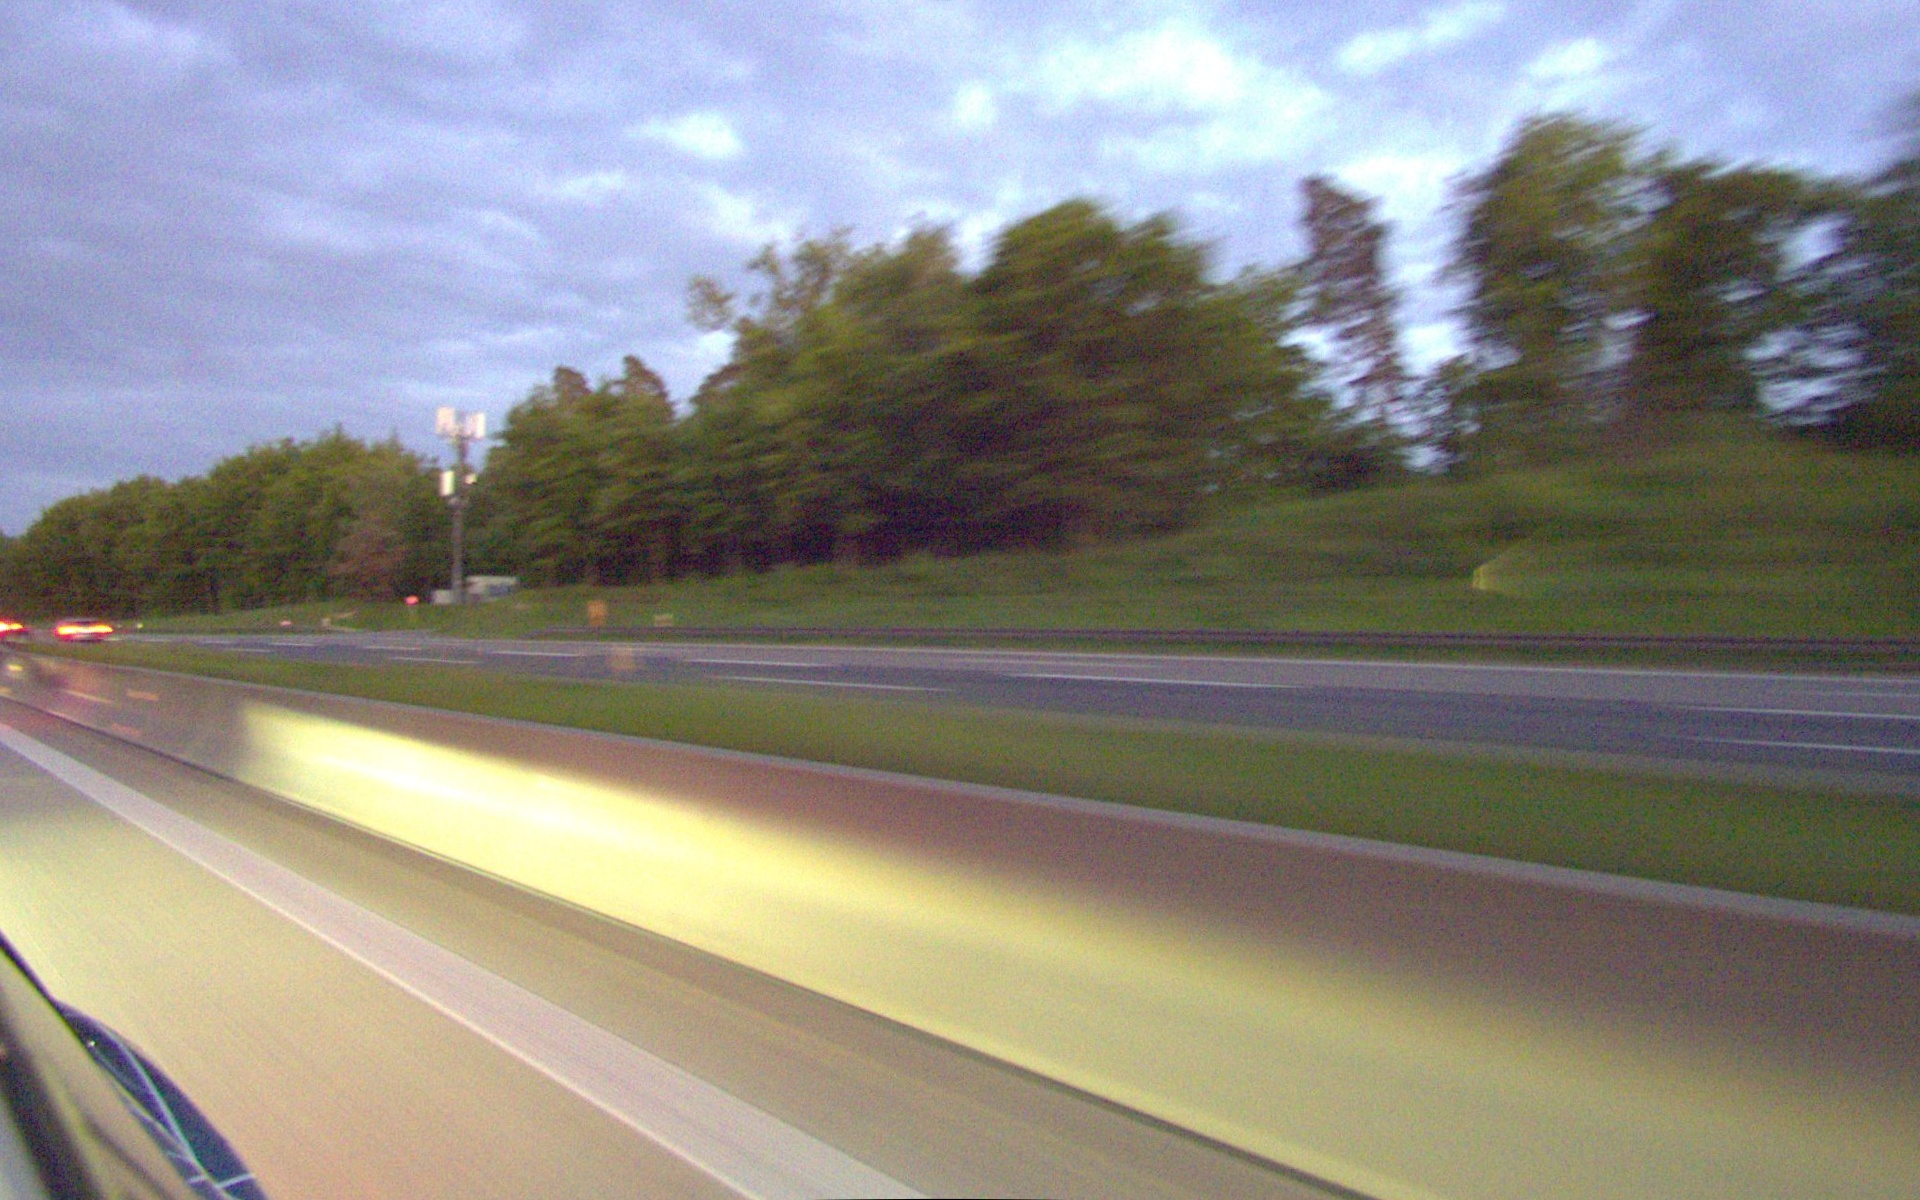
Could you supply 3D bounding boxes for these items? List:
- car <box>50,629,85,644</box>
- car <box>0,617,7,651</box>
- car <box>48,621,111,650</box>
[{"bbox_3d":[-89.583,3.626,101.585,4.901,1.391,1.797,-2,-1,38],"label":"car"},{"bbox_3d":[-53.398,1.872,54.824,4.825,1.811,1.974,-2,-2,39],"label":"car"},{"bbox_3d":[-47.091,1.918,54.080,4.447,1.454,1.856,-2,-2,40],"label":"car"}]
